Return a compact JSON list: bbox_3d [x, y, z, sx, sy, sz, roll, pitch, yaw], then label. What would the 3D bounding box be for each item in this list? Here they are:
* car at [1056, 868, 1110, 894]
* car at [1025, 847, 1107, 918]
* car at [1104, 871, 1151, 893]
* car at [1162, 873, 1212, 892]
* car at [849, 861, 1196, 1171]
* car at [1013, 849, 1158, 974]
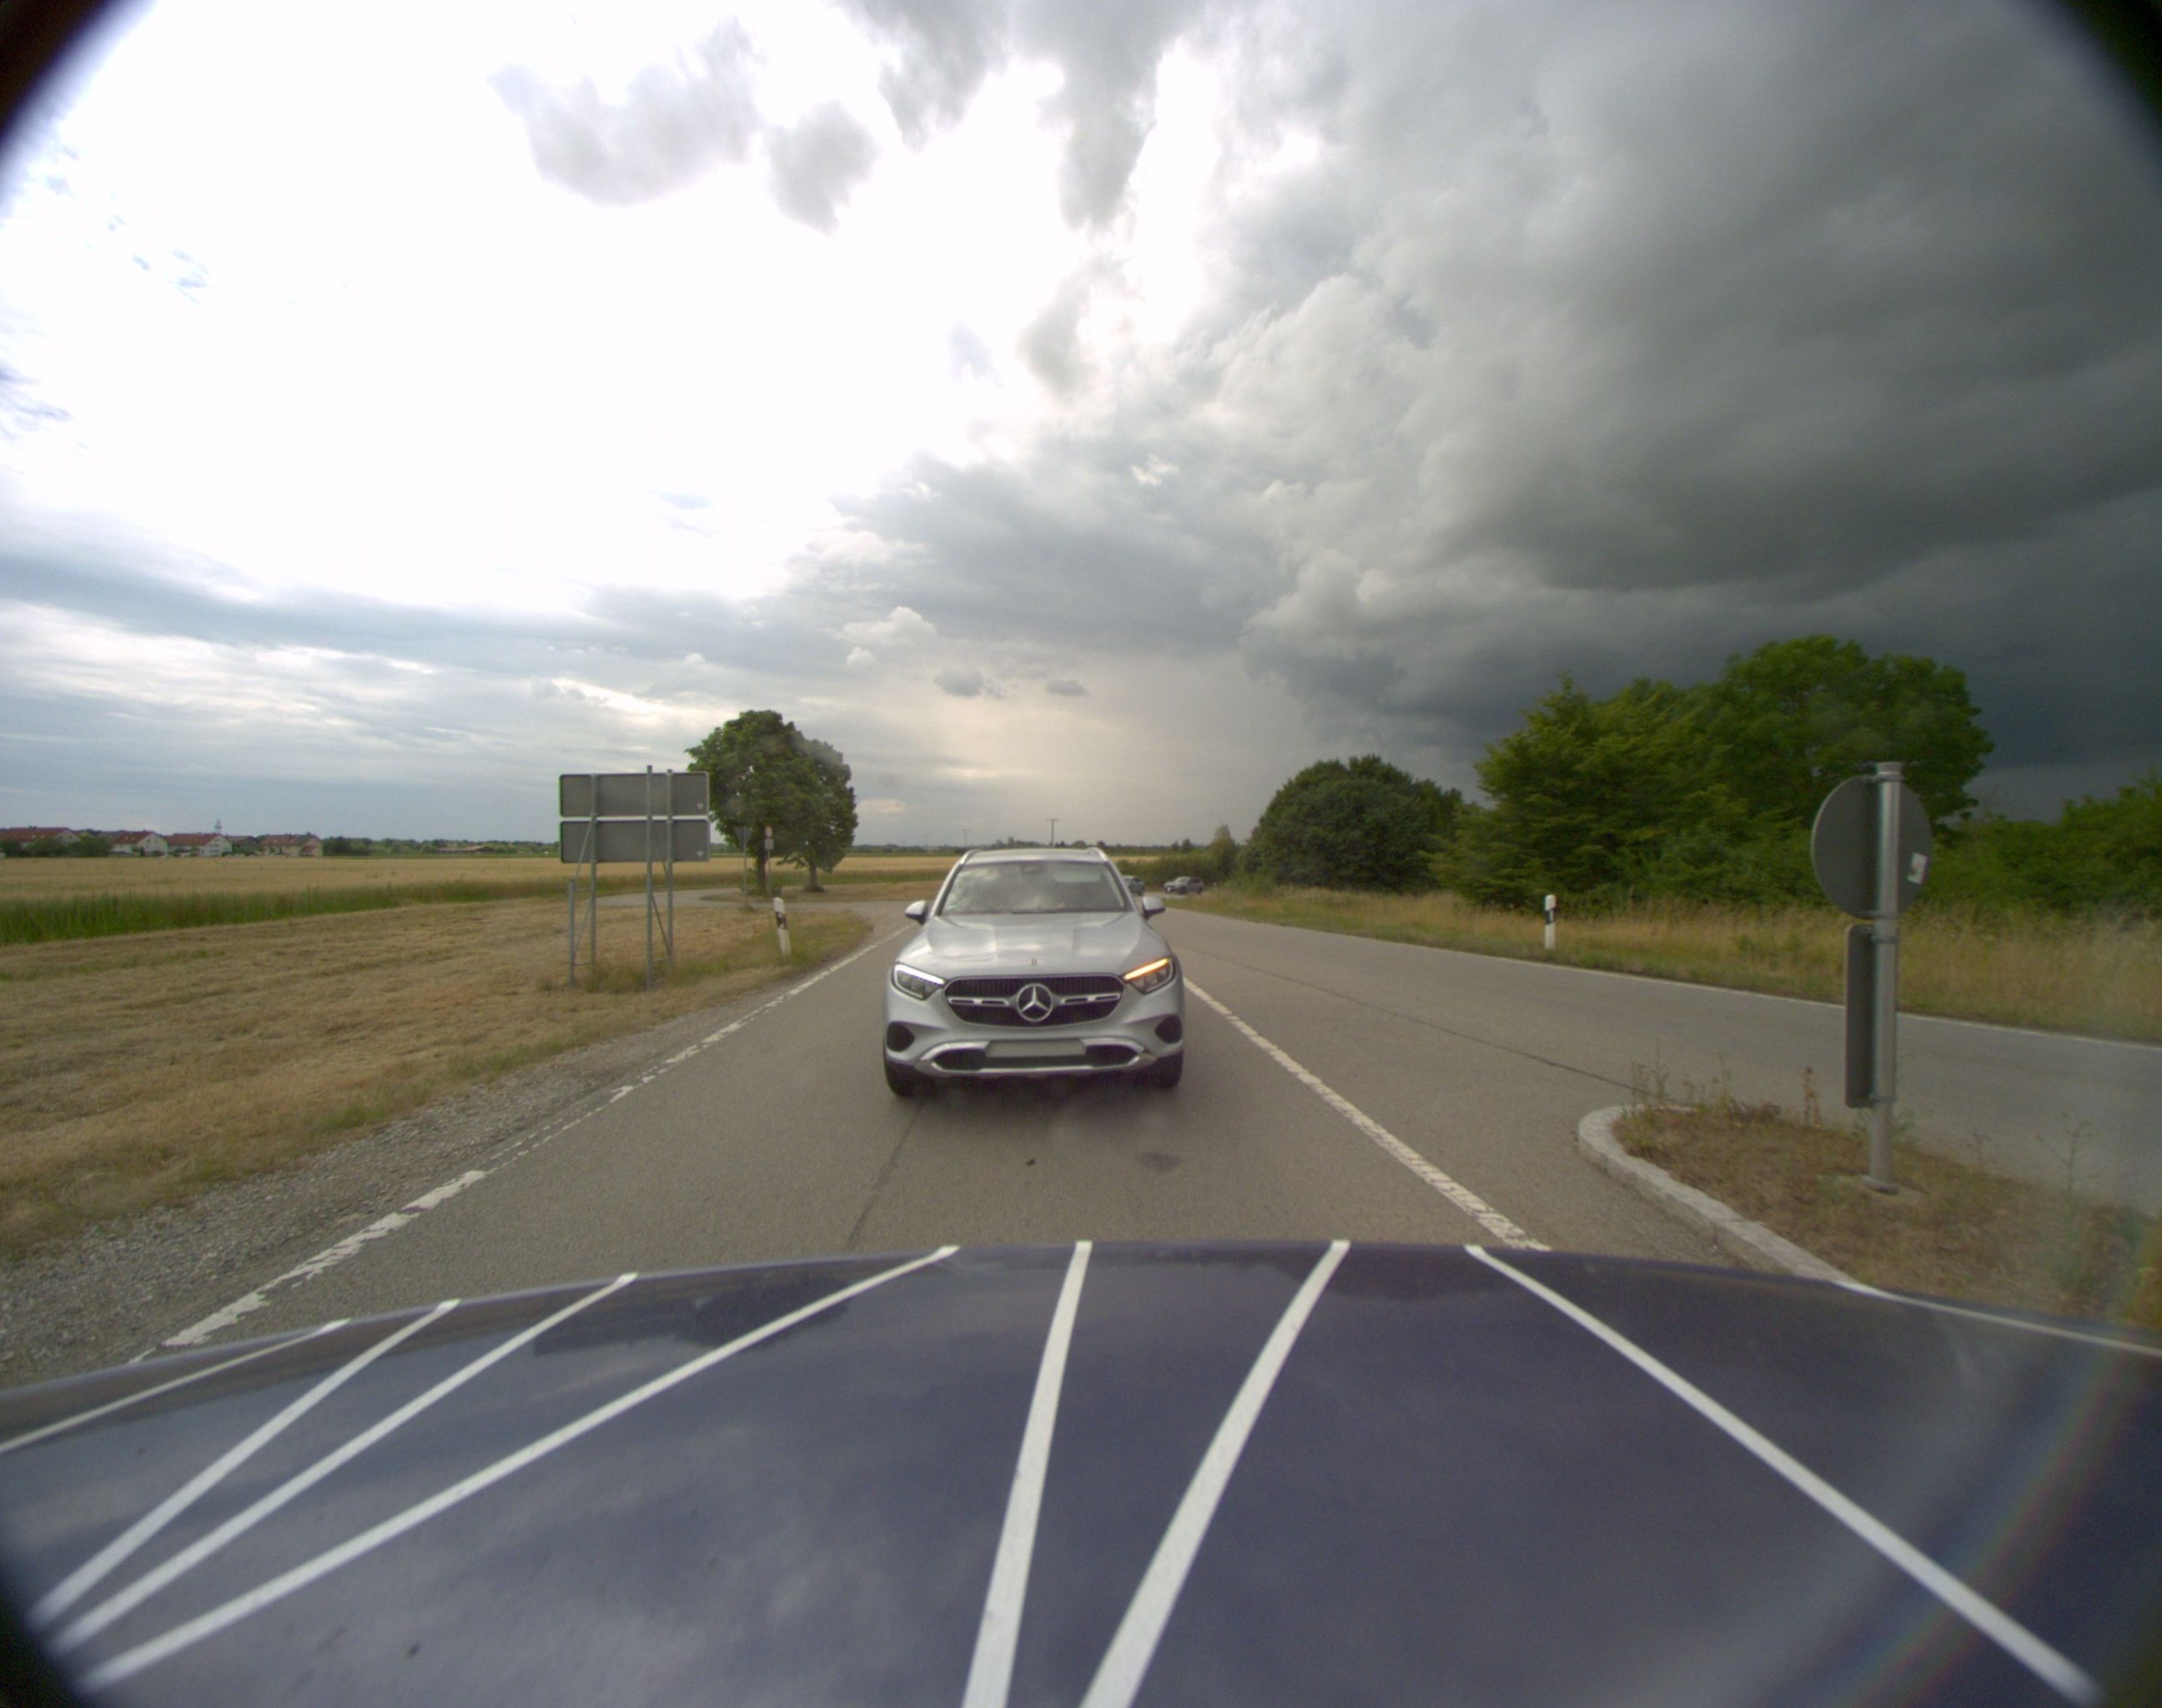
[{"bbox_3d":[0.217,1.981,55.414,1.995,1.709,5.218,3,-1,22],"label":"car"},{"bbox_3d":[-0.577,0.819,22.150,1.999,1.709,5.208,4,-2,-4],"label":"car"},{"bbox_3d":[4.016,2.359,64.162,1.994,1.709,5.220,3,-1,27],"label":"car"},{"bbox_3d":[10.366,2.756,74.079,5.220,1.710,1.994,1,2,-45],"label":"car"},{"bbox_3d":[-0.424,0.888,6.325,1.837,1.577,4.448,-1,0,-3],"label":"car"},{"bbox_3d":[0.034,0.841,13.205,1.999,1.709,5.208,1,-1,-1],"label":"car"}]
